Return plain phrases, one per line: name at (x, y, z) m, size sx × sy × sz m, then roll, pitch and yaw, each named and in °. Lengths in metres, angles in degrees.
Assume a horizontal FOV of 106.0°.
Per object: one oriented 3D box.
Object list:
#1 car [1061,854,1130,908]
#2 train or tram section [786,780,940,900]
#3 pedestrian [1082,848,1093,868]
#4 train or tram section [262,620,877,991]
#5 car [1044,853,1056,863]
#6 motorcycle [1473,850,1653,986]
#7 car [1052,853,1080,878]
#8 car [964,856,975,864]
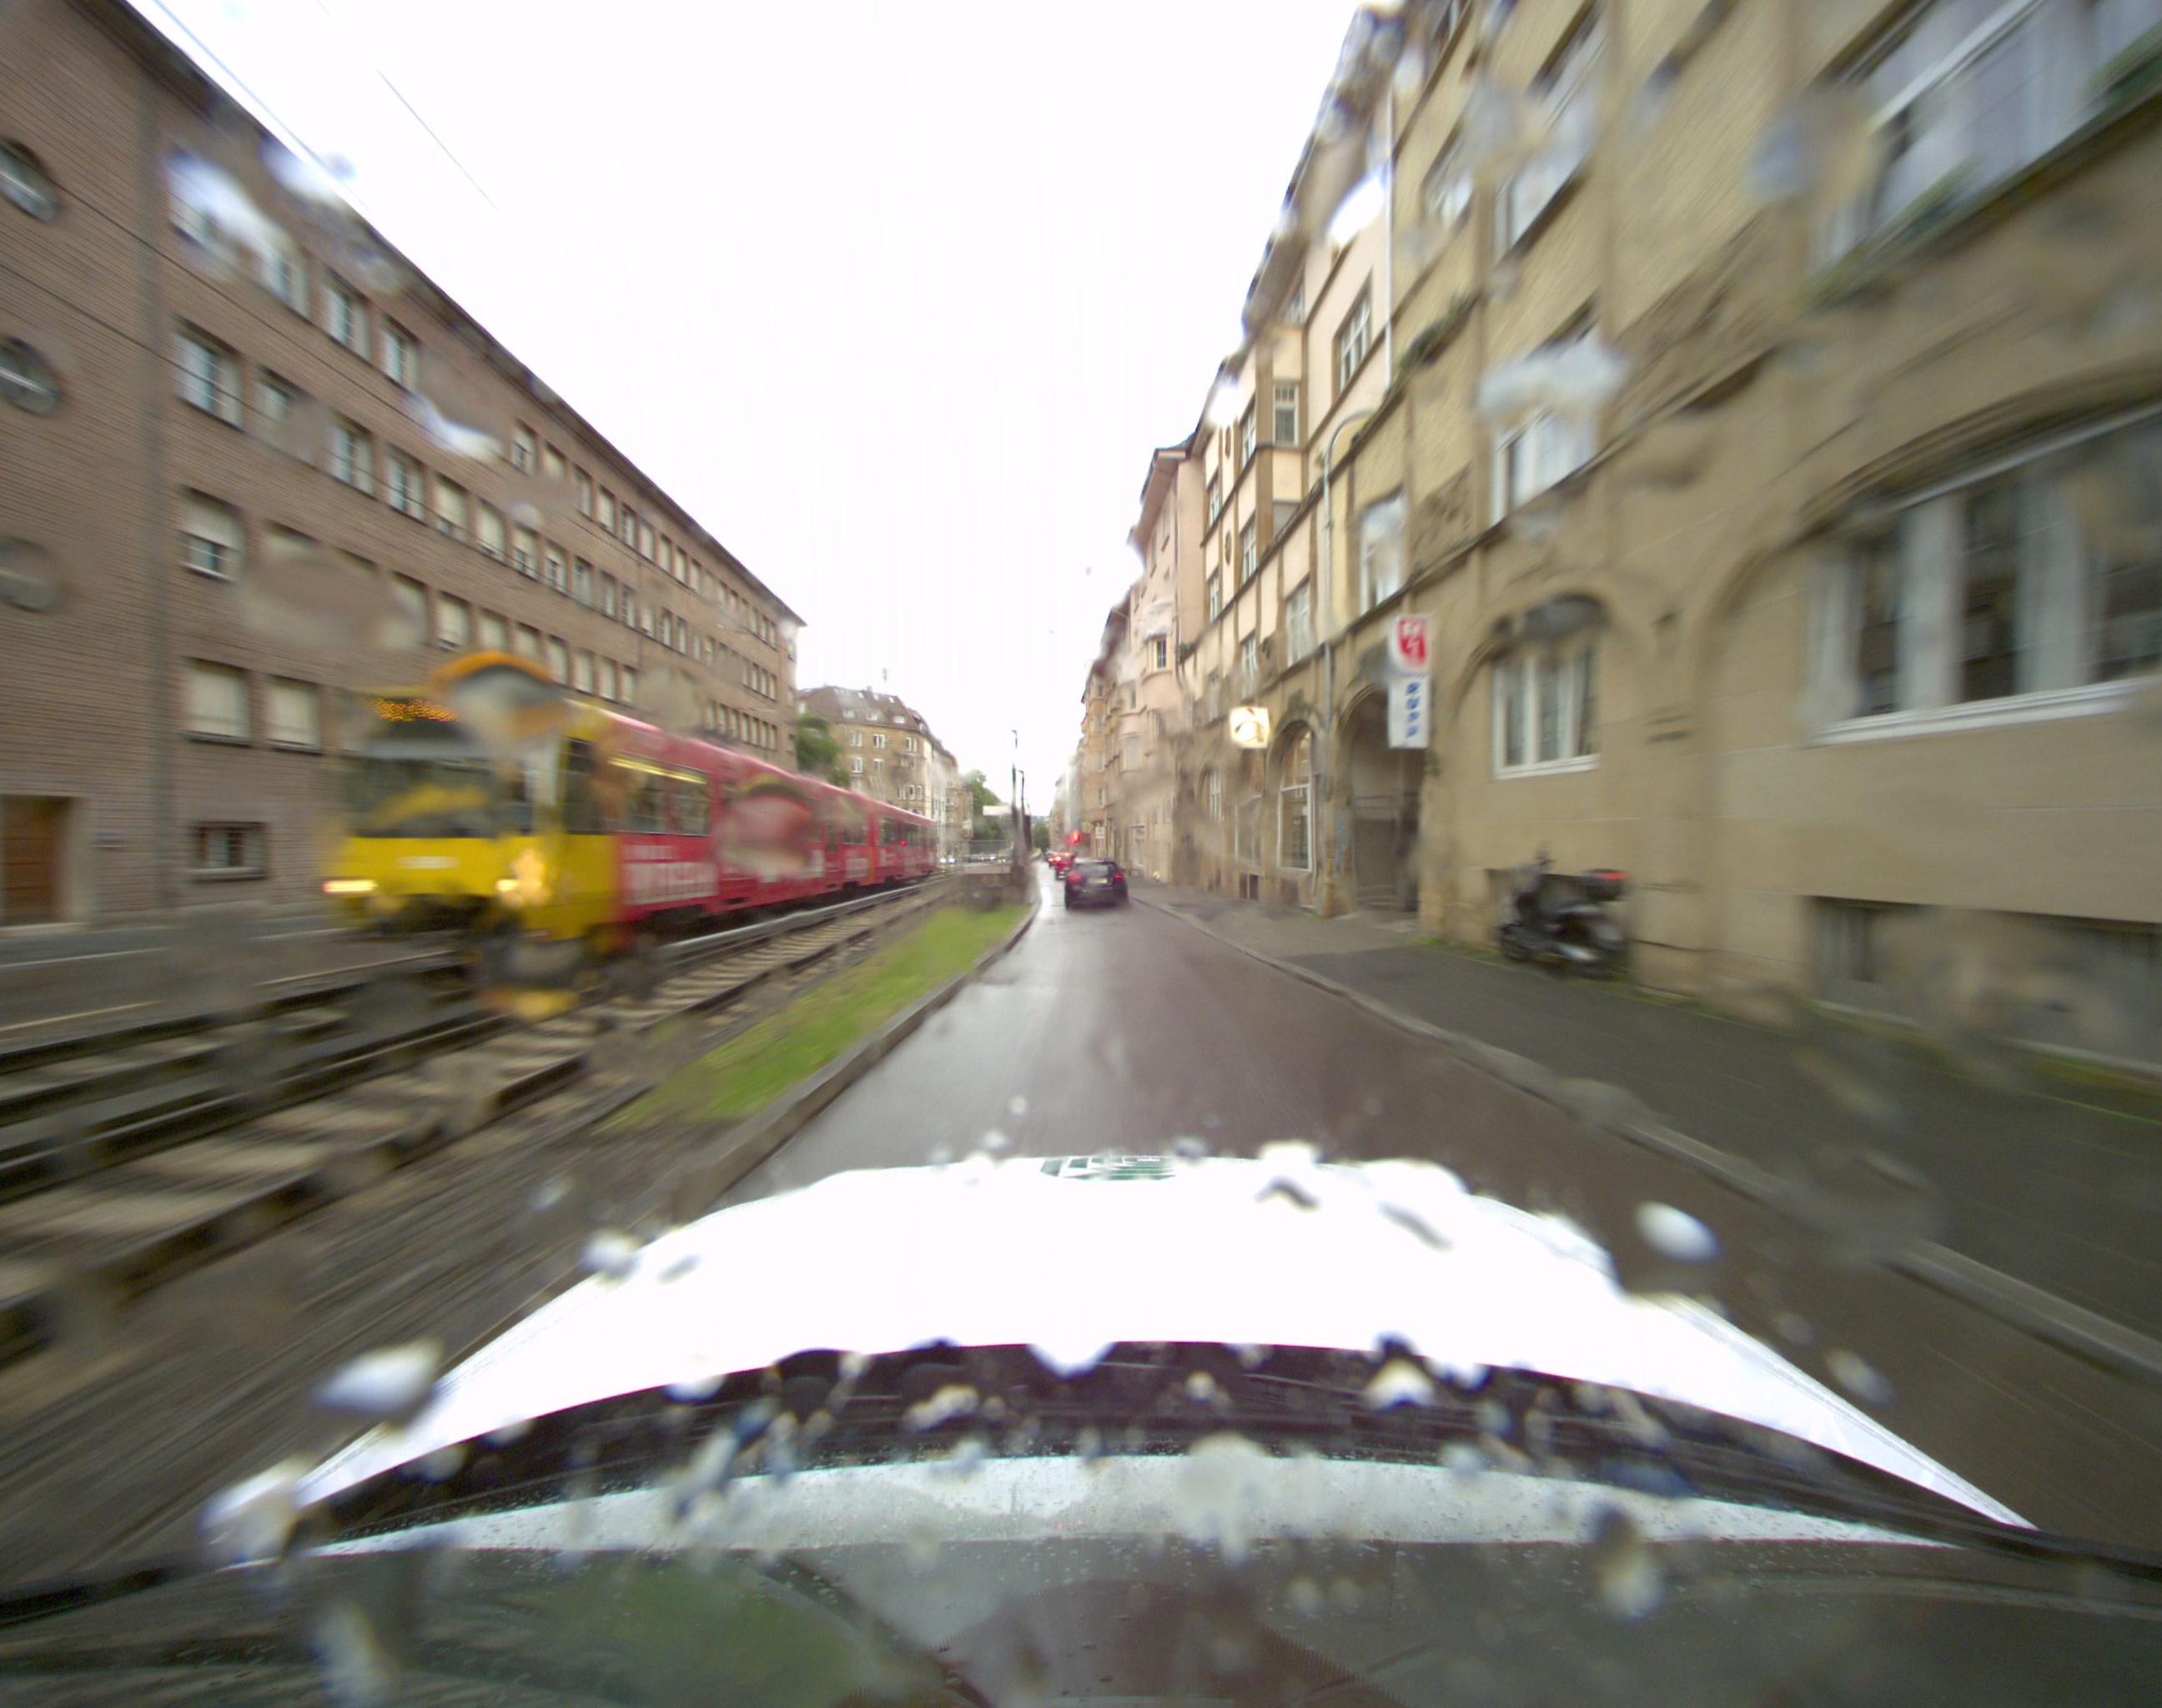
car at (0.346, 0.738, 24.227) m, size 1.861 × 1.452 × 3.998 m, roll -1°, pitch 0°, yaw -1°
train or tram section at (-8.843, -0.428, 36.619) m, size 2.709 × 3.921 × 19.837 m, roll 0°, pitch 0°, yaw -3°
pedestrian at (0.614, 0.385, 78.723) m, size 0.897 × 1.840 × 0.968 m, roll -4°, pitch 0°, yaw -2°
train or tram section at (-7.839, -0.483, 18.317) m, size 2.709 × 3.921 × 19.273 m, roll 0°, pitch 0°, yaw -3°
car at (-4.995, 0.632, 130.363) m, size 1.761 × 1.559 × 4.740 m, roll -2°, pitch 0°, yaw -3°
motorcycle at (5.049, 0.610, 8.693) m, size 0.689 × 1.237 × 1.777 m, roll -6°, pitch 0°, yaw -3°
car at (-0.928, 0.677, 50.448) m, size 1.645 × 1.452 × 3.998 m, roll -1°, pitch 0°, yaw -1°
car at (-23.288, 1.189, 170.393) m, size 1.717 × 1.541 × 3.931 m, roll -2°, pitch 0°, yaw -1°
